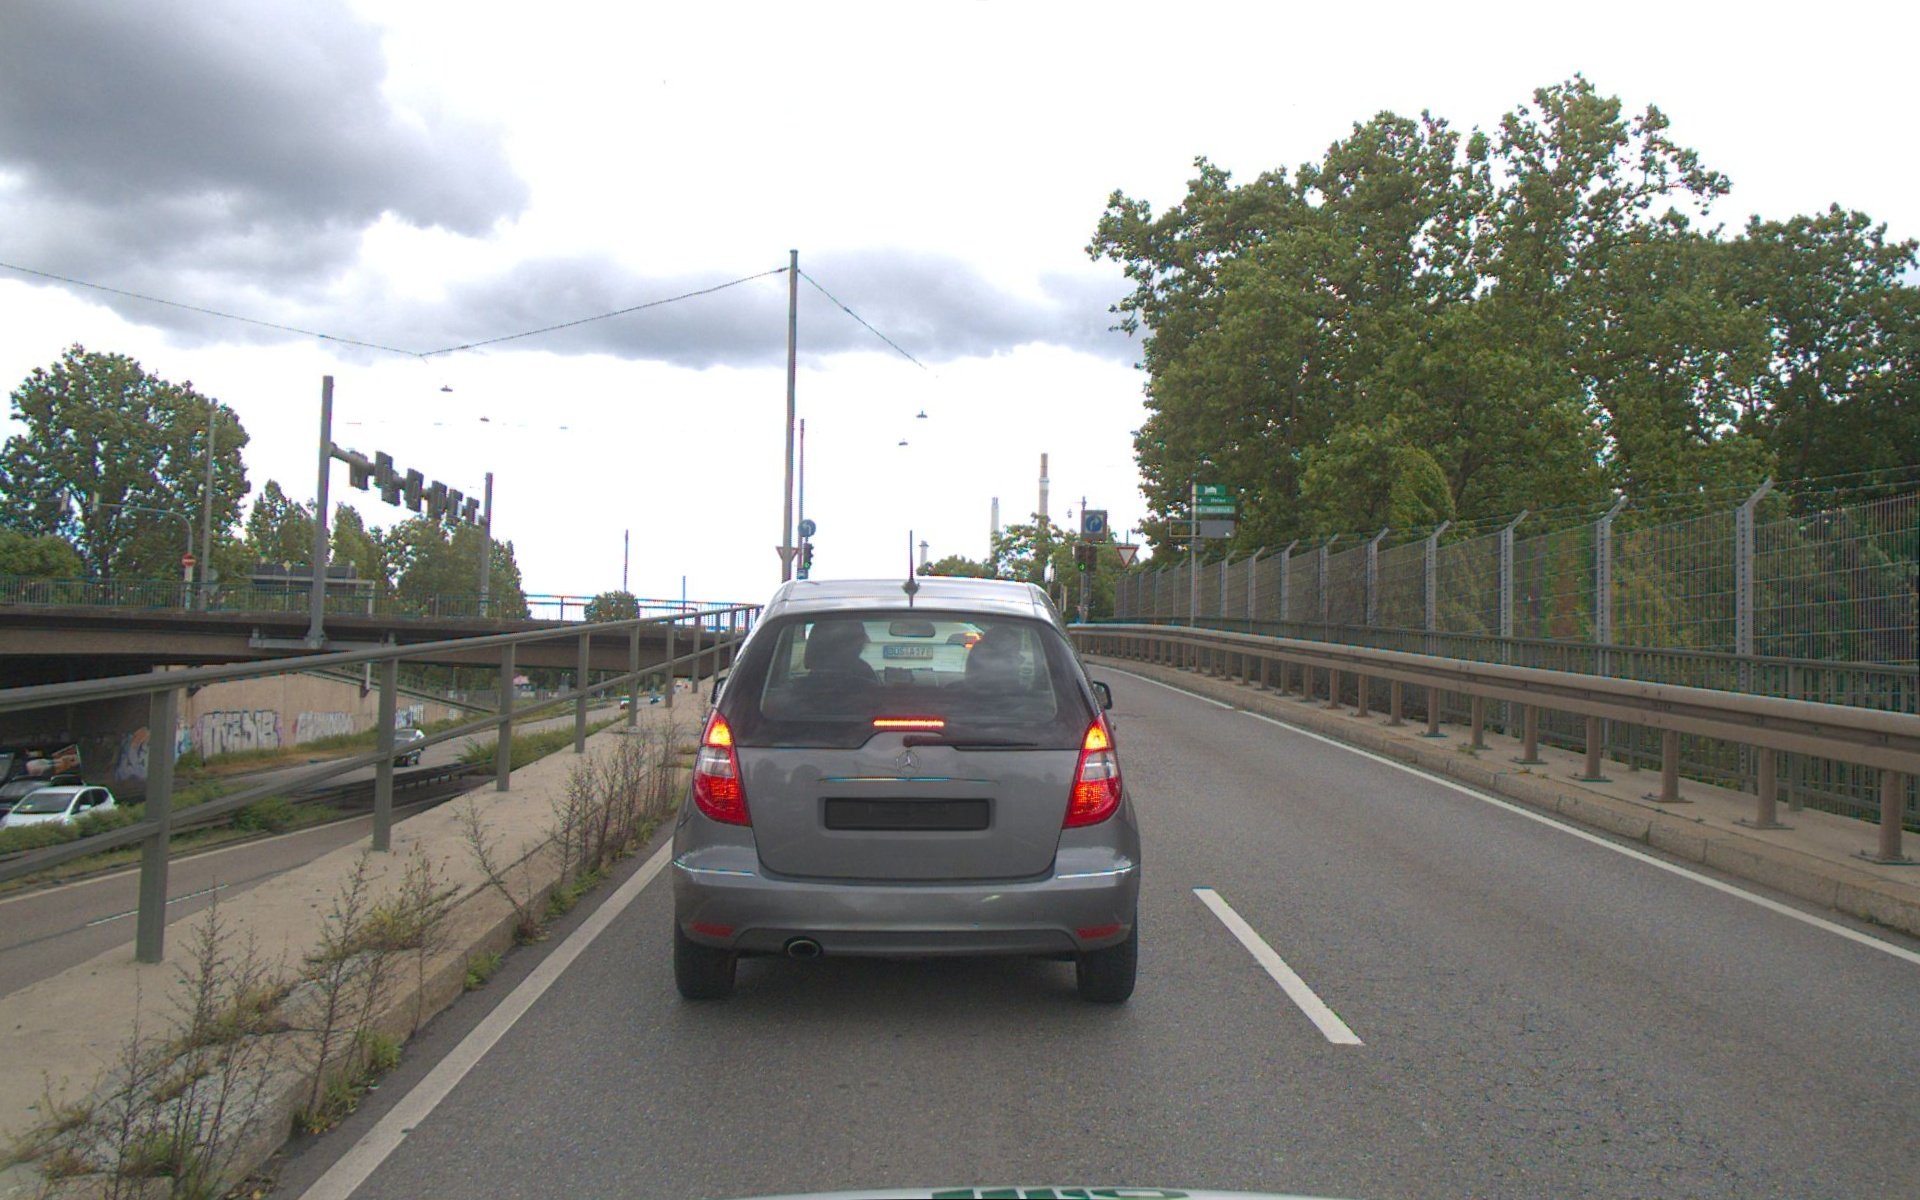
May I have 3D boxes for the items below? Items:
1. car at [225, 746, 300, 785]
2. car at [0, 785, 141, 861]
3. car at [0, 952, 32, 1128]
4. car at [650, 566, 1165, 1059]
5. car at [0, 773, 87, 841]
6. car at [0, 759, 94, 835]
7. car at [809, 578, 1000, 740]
[{"bbox_3d":[-33.817,7.999,80.283,1.953,1.691,3.997,1,-4,-2],"label":"car"},{"bbox_3d":[-23.824,5.910,44.163,1.953,1.691,3.997,1,-4,-2],"label":"car"},{"bbox_3d":[-9.950,4.018,13.538,1.894,1.527,4.306,-1,-2,7],"label":"car"},{"bbox_3d":[0.011,0.690,7.514,1.713,1.608,4.087,0,0,5],"label":"car"},{"bbox_3d":[-27.771,6.055,48.755,1.953,1.691,3.997,1,-4,-2],"label":"car"},{"bbox_3d":[-31.161,6.421,54.298,2.244,2.193,6.180,0,-4,-1],"label":"car"},{"bbox_3d":[-0.602,0.580,18.924,1.953,1.631,3.999,0,1,-1],"label":"car"}]
